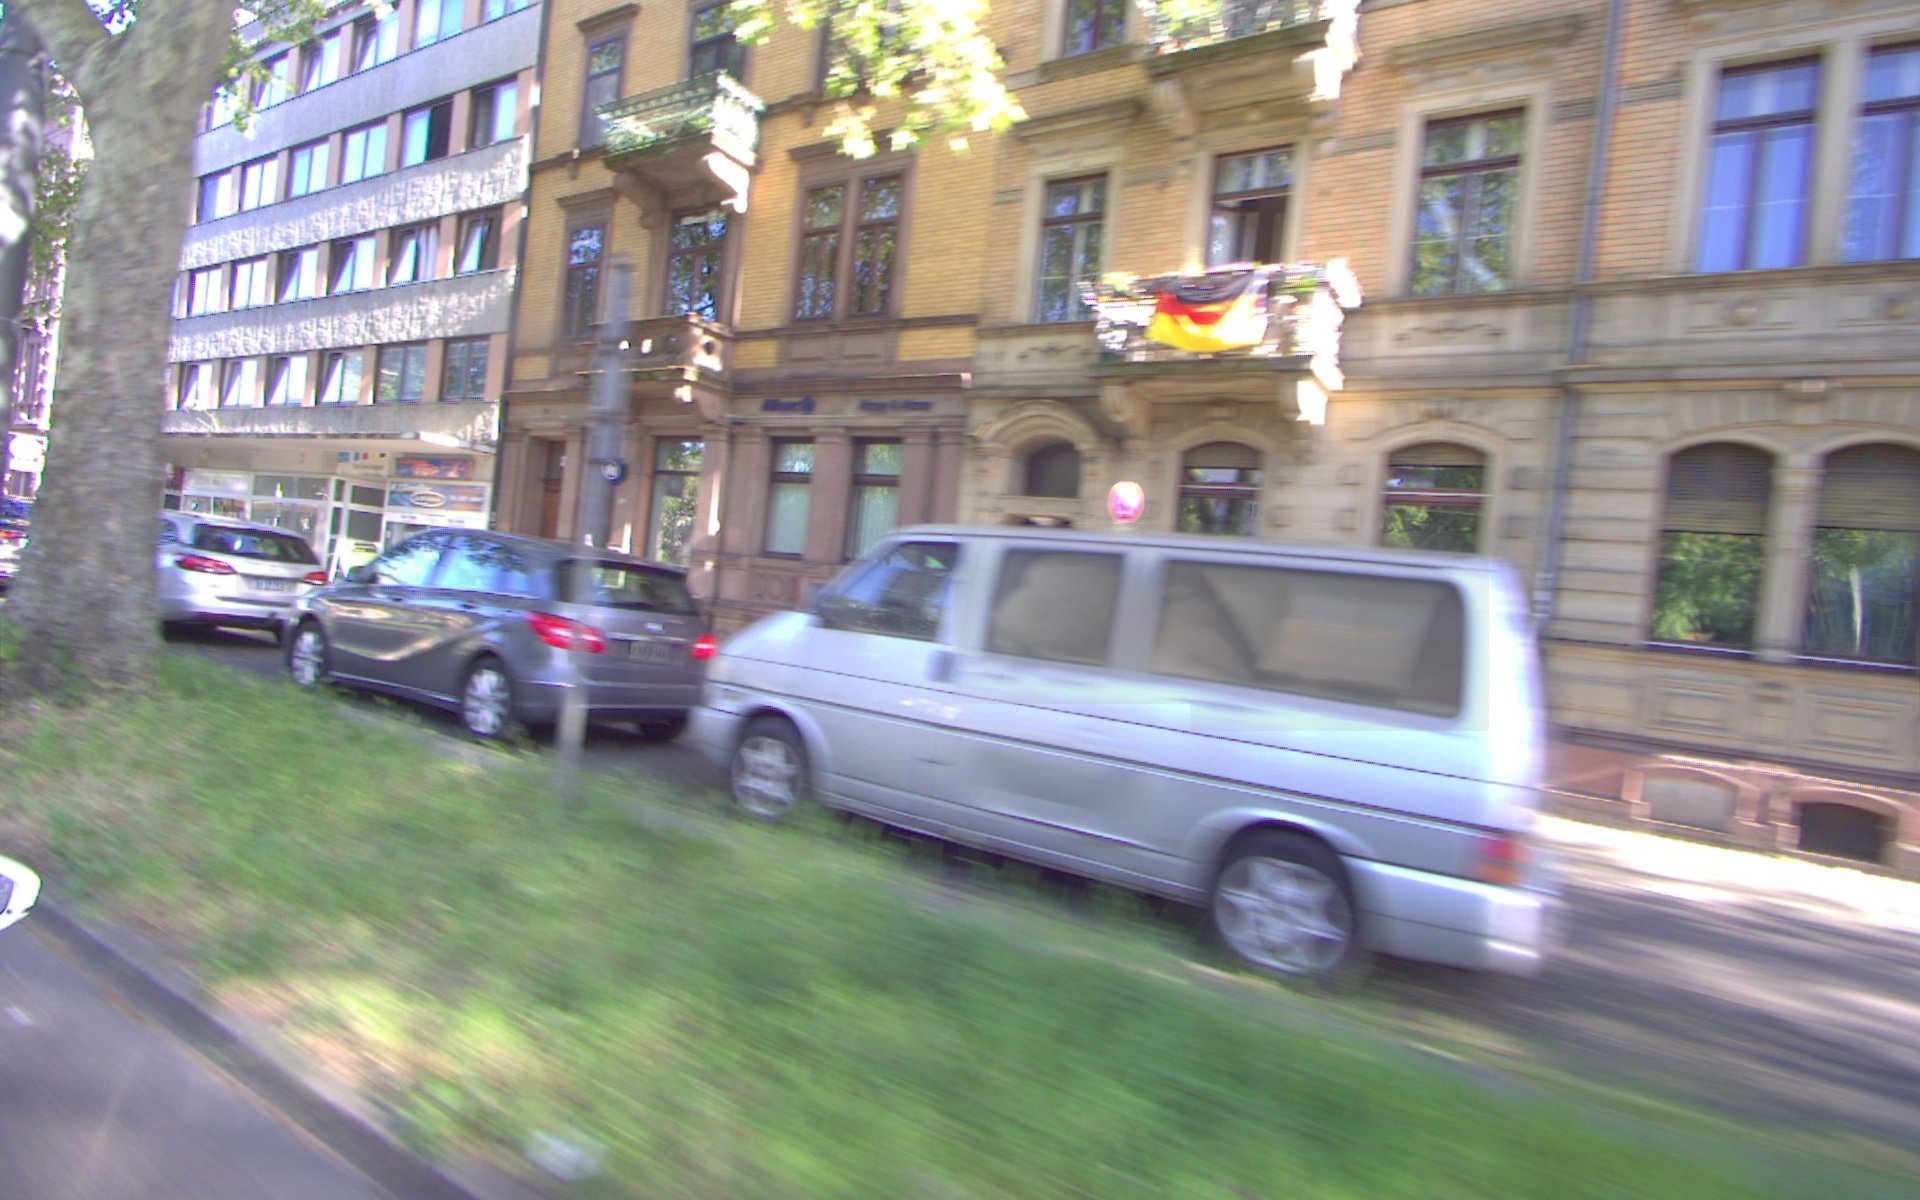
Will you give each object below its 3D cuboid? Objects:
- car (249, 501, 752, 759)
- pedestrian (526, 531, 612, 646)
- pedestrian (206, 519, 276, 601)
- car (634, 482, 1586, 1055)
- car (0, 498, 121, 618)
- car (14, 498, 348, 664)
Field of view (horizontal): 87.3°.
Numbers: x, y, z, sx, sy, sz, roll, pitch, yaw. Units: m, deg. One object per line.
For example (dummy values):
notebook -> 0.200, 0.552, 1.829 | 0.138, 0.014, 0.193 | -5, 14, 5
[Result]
car -> -4.001, 0.177, 8.514 | 4.287, 1.519, 1.707 | 7, -2, 33
pedestrian -> -6.756, -0.188, 17.413 | 0.704, 1.862, 1.000 | 7, 0, 35
pedestrian -> -17.376, -0.961, 24.332 | 0.703, 1.780, 1.001 | 7, -1, 33
car -> 0.580, 0.535, 5.599 | 4.722, 1.836, 1.868 | 7, -2, 34
car -> -14.930, -0.808, 15.428 | 4.841, 1.506, 1.809 | 6, -3, 34
car -> -9.756, -0.282, 12.493 | 4.593, 1.483, 1.681 | 6, -3, 32
